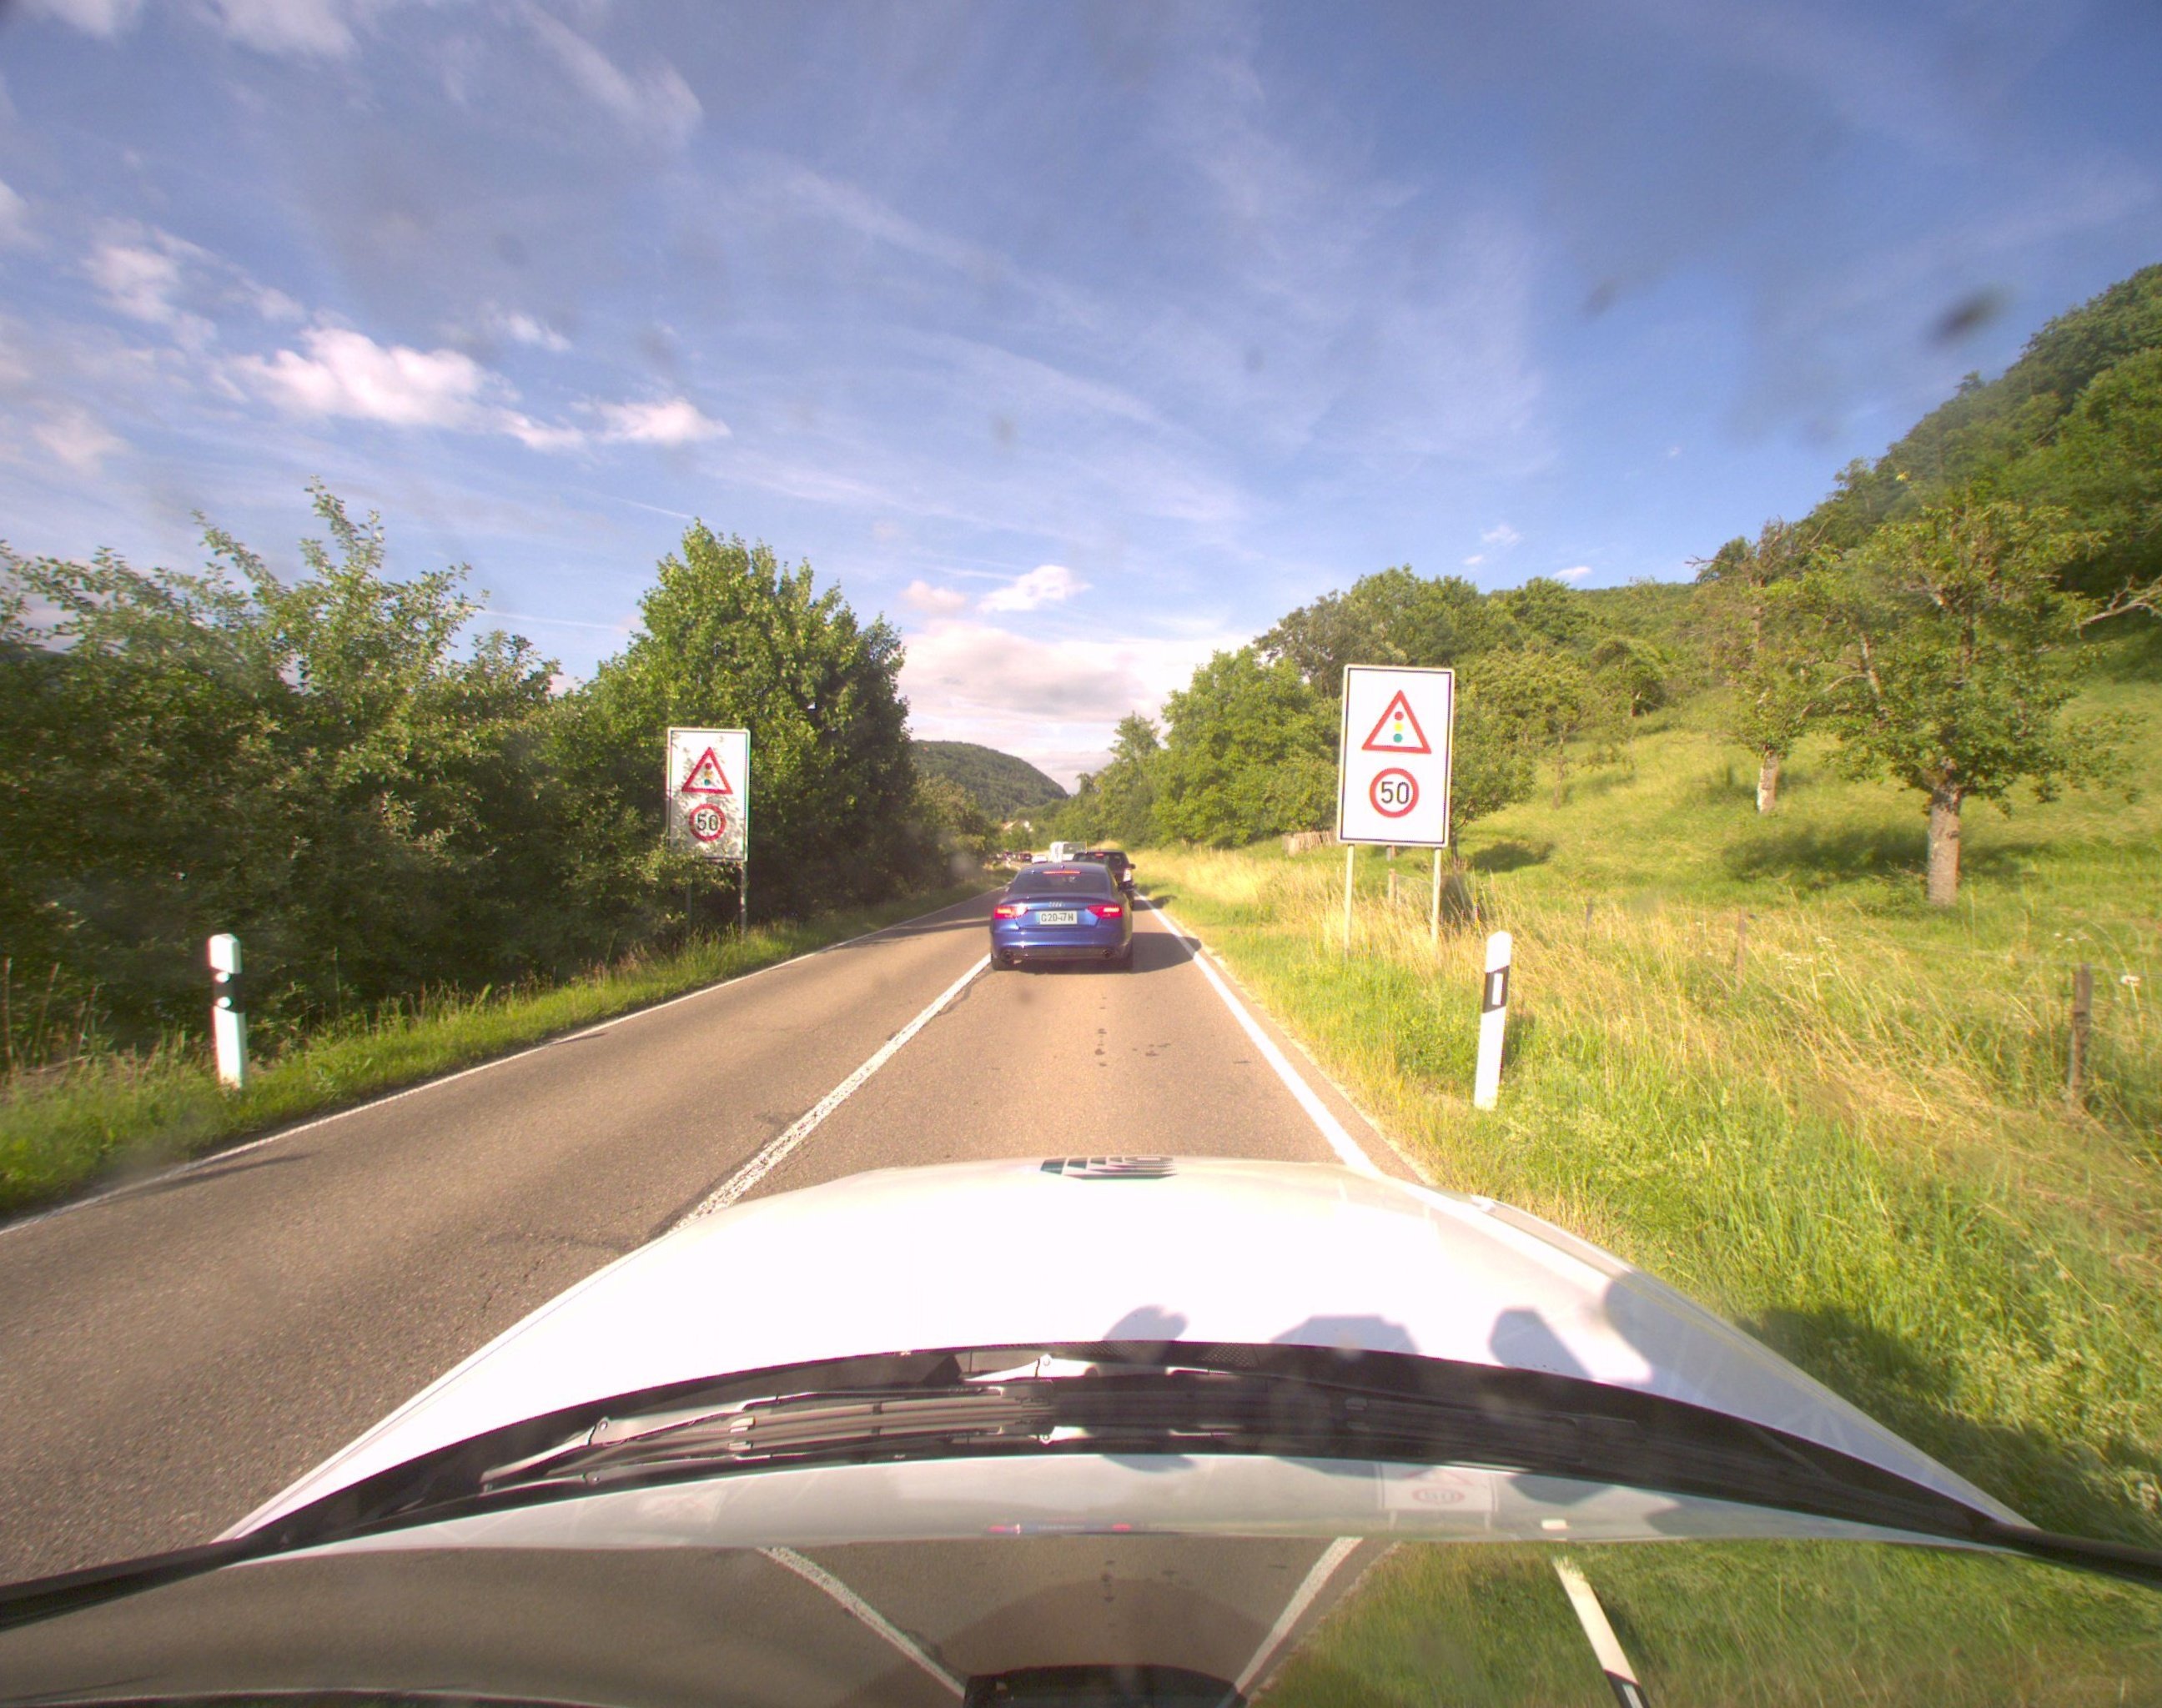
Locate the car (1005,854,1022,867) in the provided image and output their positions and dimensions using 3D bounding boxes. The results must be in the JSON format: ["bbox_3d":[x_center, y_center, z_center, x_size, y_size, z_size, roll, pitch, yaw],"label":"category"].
[{"bbox_3d":[-10.967,1.085,132.297,1.997,2.014,3.980,0,-1,-14],"label":"car"}]

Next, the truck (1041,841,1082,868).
[{"bbox_3d":[-2.192,0.045,85.278,2.864,2.665,10.610,0,0,-9],"label":"truck"}]

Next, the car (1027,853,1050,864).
[{"bbox_3d":[-5.761,0.635,110.013,2.000,1.482,3.974,0,-1,-19],"label":"car"}]

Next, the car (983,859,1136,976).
[{"bbox_3d":[-0.172,0.762,11.543,1.787,1.360,4.002,0,0,2],"label":"car"}]

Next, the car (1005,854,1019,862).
[{"bbox_3d":[-12.411,0.722,146.371,1.997,1.482,3.979,0,0,-15],"label":"car"}]

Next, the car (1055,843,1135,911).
[{"bbox_3d":[0.395,0.585,22.385,1.986,1.702,4.001,0,0,1],"label":"car"}]

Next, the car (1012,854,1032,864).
[{"bbox_3d":[-8.843,0.723,122.220,2.000,1.482,3.974,0,-1,-19],"label":"car"}]

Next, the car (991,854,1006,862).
[{"bbox_3d":[-16.076,0.843,158.492,2.001,1.482,3.972,0,-1,-21],"label":"car"}]

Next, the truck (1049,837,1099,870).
[{"bbox_3d":[-0.786,-0.016,71.655,2.864,2.665,10.359,0,0,-9],"label":"truck"}]

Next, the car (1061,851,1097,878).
[{"bbox_3d":[-0.089,0.607,47.513,1.986,1.482,4.001,0,0,1],"label":"car"}]
